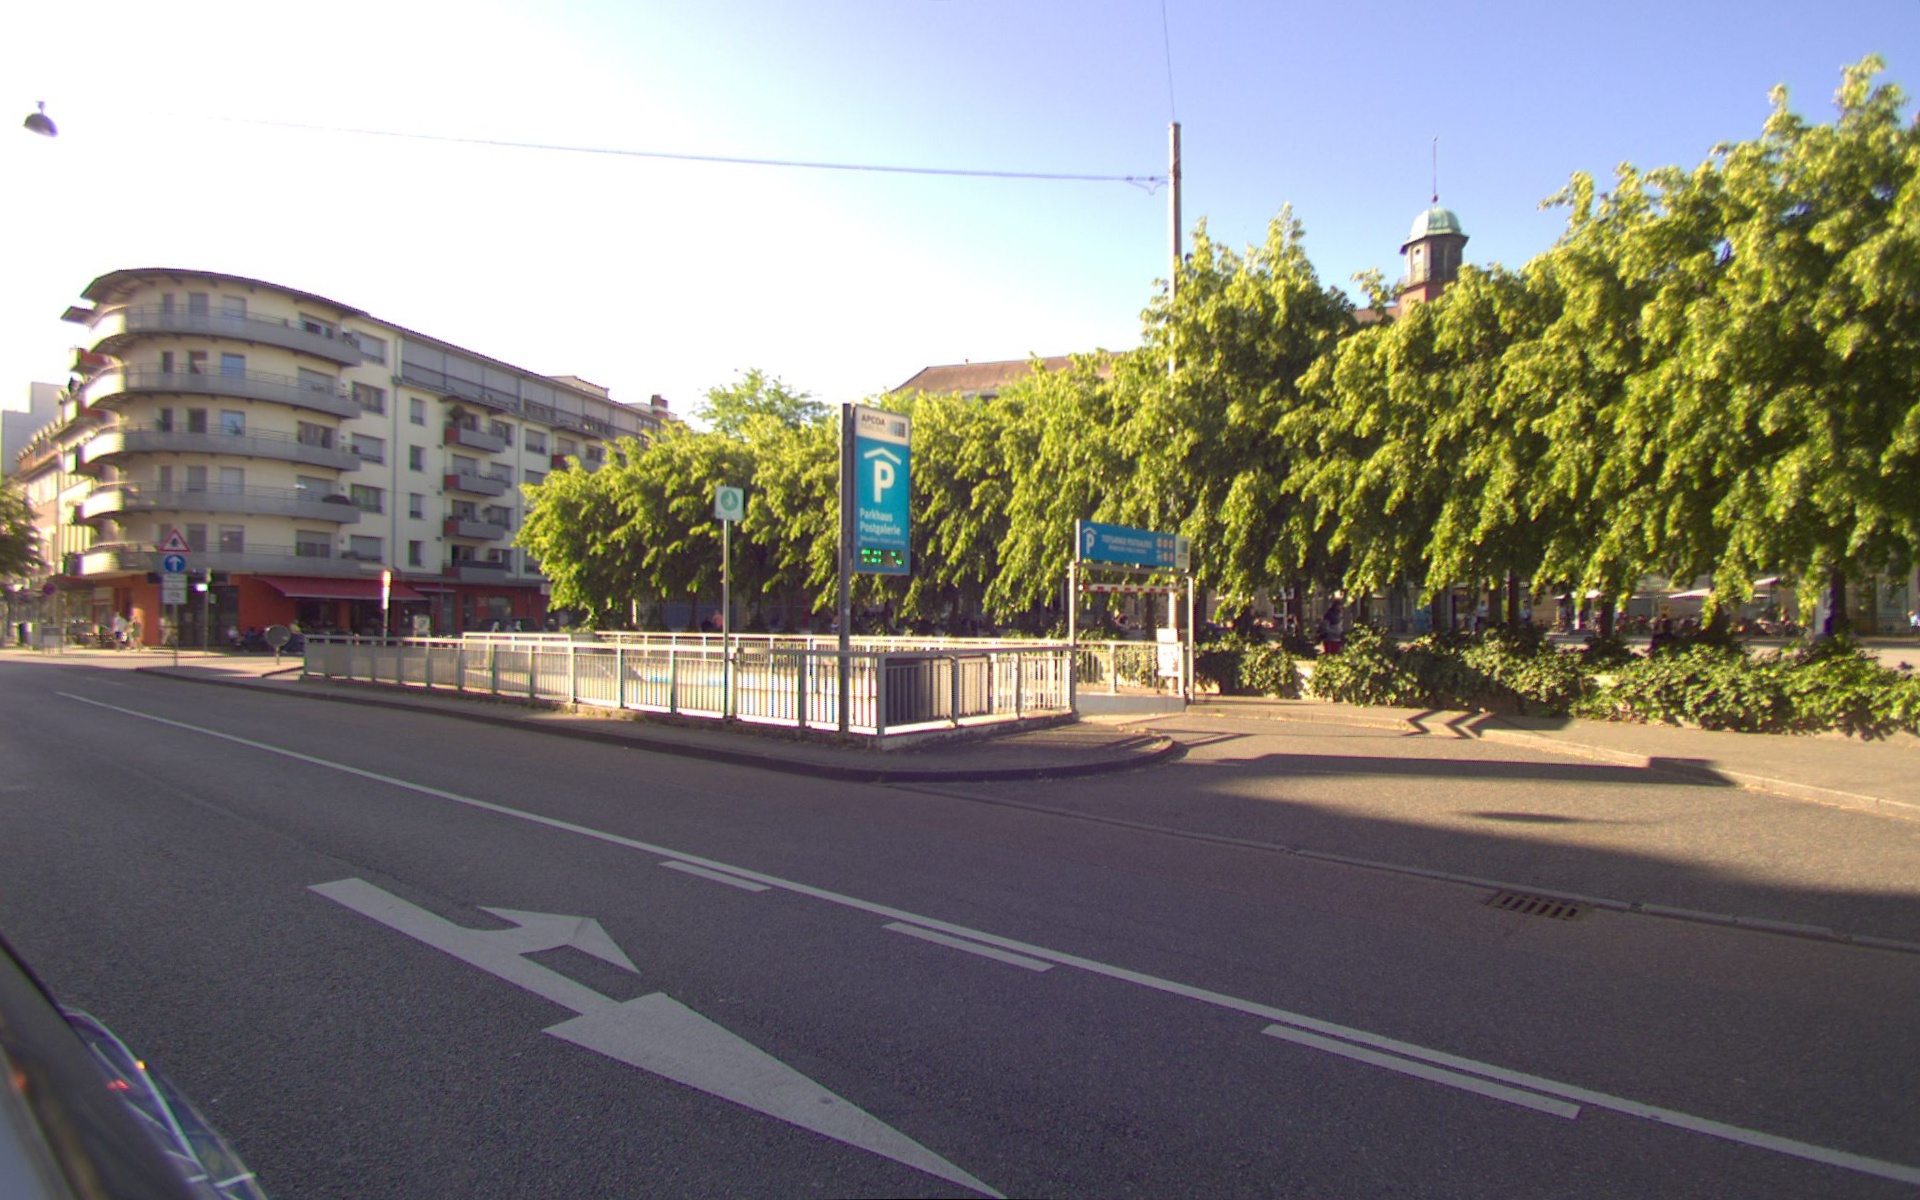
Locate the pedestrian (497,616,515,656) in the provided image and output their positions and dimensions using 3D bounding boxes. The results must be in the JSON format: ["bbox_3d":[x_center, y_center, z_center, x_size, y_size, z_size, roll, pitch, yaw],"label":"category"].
[{"bbox_3d":[-20.723,1.651,46.152,0.574,1.806,0.602,-1,0,-5],"label":"pedestrian"}]

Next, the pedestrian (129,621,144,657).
[{"bbox_3d":[-38.755,1.831,47.619,0.515,1.685,0.437,-1,-1,37],"label":"pedestrian"}]

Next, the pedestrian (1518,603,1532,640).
[{"bbox_3d":[28.181,1.078,50.477,0.599,1.806,0.576,-1,-1,31],"label":"pedestrian"}]

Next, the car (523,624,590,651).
[{"bbox_3d":[-26.502,2.432,66.593,1.938,1.633,4.272,-1,-1,16],"label":"car"}]

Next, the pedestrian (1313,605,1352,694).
[{"bbox_3d":[7.969,1.047,21.655,0.674,1.870,0.577,-1,-1,30],"label":"pedestrian"}]

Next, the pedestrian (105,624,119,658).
[{"bbox_3d":[-39.322,1.902,46.921,0.515,1.541,0.371,-1,-1,37],"label":"pedestrian"}]

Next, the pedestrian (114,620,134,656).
[{"bbox_3d":[-39.047,1.765,47.250,0.792,1.634,0.563,-1,-1,37],"label":"pedestrian"}]

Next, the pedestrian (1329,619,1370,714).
[{"bbox_3d":[7.872,1.324,20.451,0.600,1.870,0.575,-1,-1,38],"label":"pedestrian"}]

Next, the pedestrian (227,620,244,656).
[{"bbox_3d":[-35.001,1.831,48.890,0.642,1.721,0.568,-2,-2,43],"label":"pedestrian"}]

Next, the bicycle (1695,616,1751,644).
[{"bbox_3d":[29.378,1.156,39.001,0.496,1.024,2.061,-1,0,-3],"label":"bicycle"}]

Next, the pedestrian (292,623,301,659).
[{"bbox_3d":[-31.890,1.966,48.644,0.266,1.680,0.362,0,-1,-17],"label":"pedestrian"}]

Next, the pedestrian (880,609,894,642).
[{"bbox_3d":[-4.105,1.432,57.127,0.578,1.806,0.597,-1,0,20],"label":"pedestrian"}]

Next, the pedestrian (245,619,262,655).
[{"bbox_3d":[-34.140,1.796,48.889,0.642,1.721,0.568,-2,-2,43],"label":"pedestrian"}]

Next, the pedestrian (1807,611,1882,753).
[{"bbox_3d":[12.155,1.094,13.904,0.732,1.870,0.574,-1,-1,44],"label":"pedestrian"}]

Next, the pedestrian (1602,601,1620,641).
[{"bbox_3d":[29.231,0.936,45.434,0.598,1.806,0.577,-1,0,27],"label":"pedestrian"}]

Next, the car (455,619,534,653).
[{"bbox_3d":[-28.050,2.154,61.153,1.938,1.927,4.403,-1,-1,16],"label":"car"}]

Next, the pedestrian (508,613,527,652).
[{"bbox_3d":[-20.447,1.495,46.759,0.574,1.806,0.601,-1,0,0],"label":"pedestrian"}]

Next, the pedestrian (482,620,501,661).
[{"bbox_3d":[-20.981,1.794,45.334,0.574,1.806,0.602,-1,0,-5],"label":"pedestrian"}]
